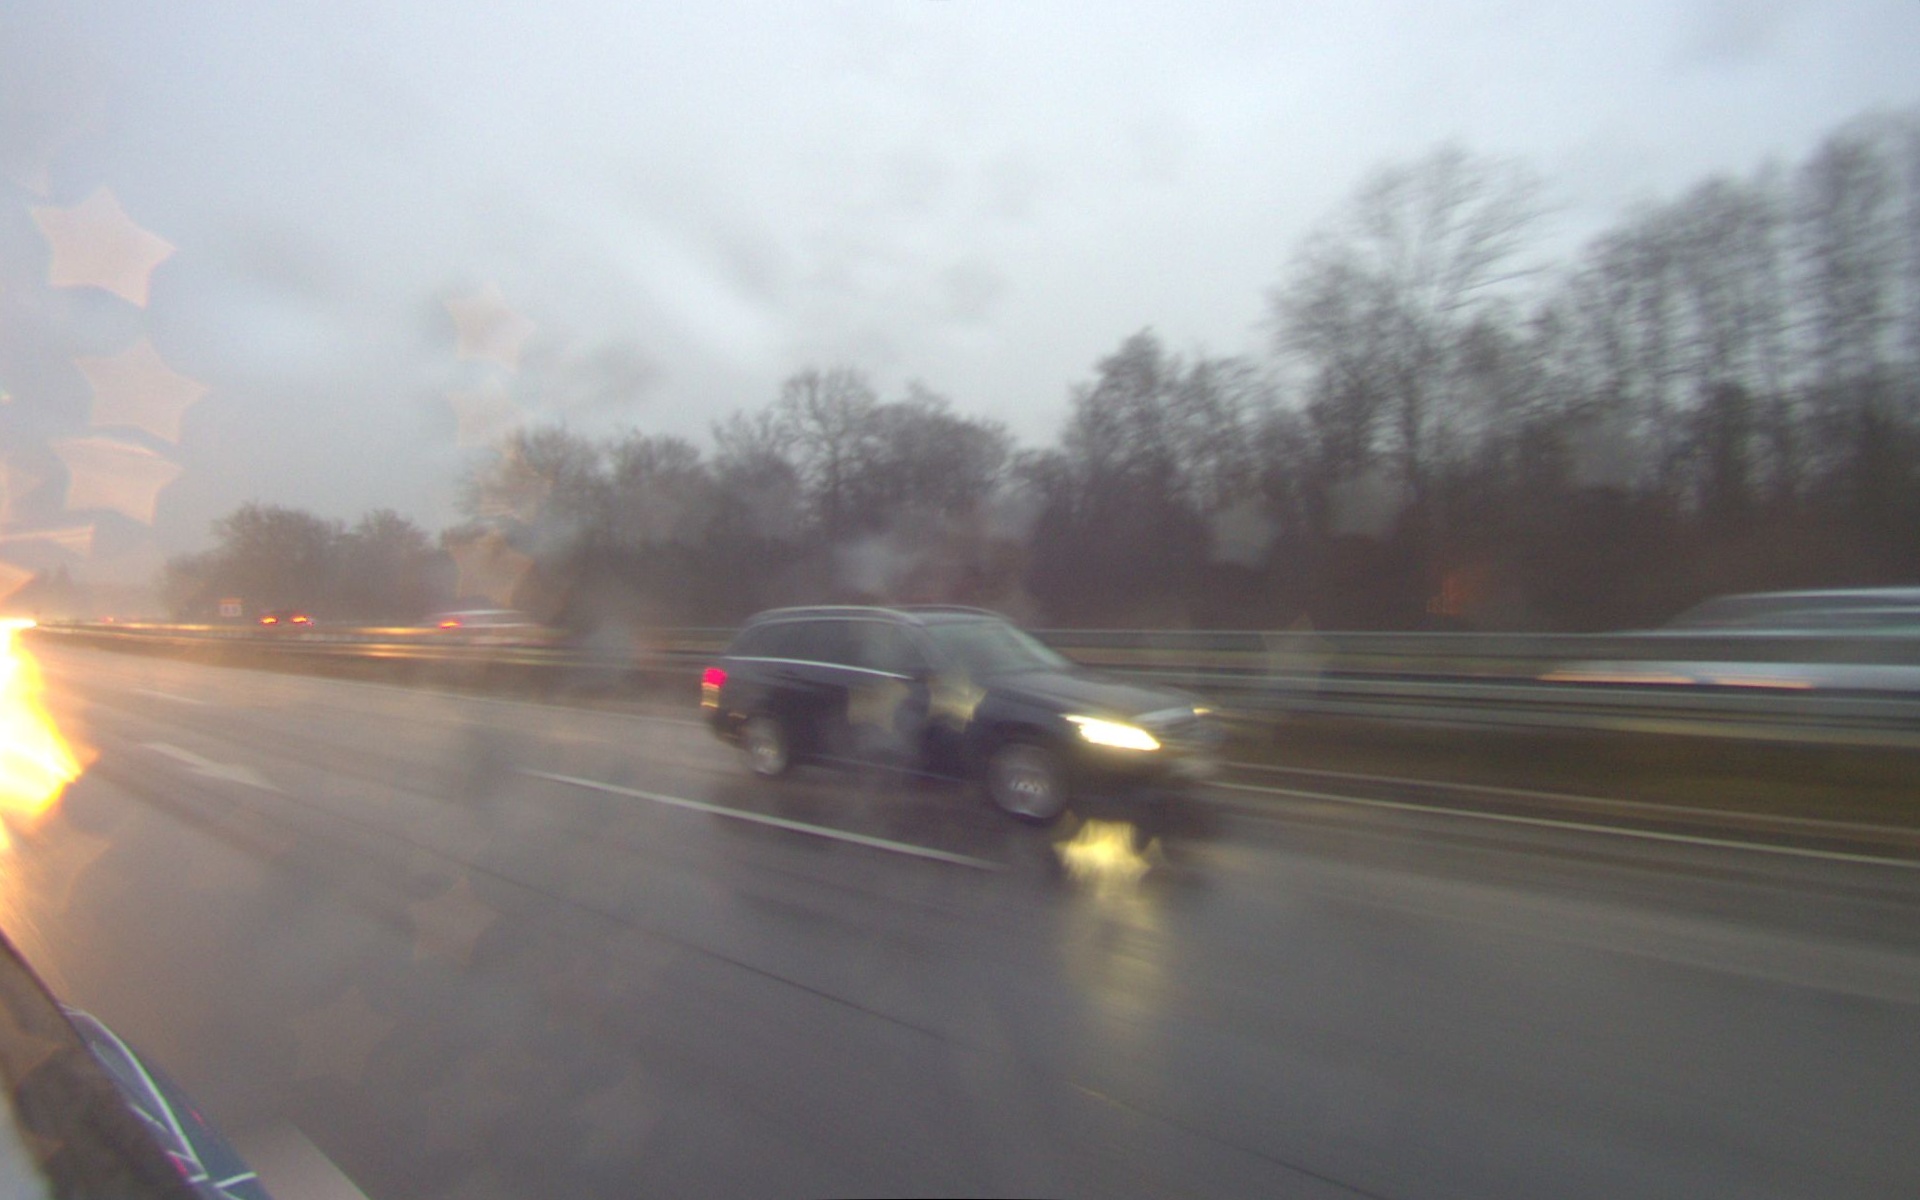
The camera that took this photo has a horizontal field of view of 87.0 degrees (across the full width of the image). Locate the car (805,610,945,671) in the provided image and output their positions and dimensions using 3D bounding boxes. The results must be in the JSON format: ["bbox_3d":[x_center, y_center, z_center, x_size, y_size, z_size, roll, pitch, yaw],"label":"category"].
[{"bbox_3d":[-2.550,1.121,29.700,4.203,1.647,1.665,0,-1,42],"label":"car"}]

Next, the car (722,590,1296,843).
[{"bbox_3d":[0.173,0.751,8.056,4.410,1.479,1.779,-2,-2,41],"label":"car"}]

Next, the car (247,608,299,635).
[{"bbox_3d":[-40.048,1.231,58.942,3.841,1.386,1.558,1,2,41],"label":"car"}]

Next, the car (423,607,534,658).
[{"bbox_3d":[-15.119,0.981,31.695,3.841,1.386,1.760,1,2,41],"label":"car"}]

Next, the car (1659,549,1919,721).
[{"bbox_3d":[11.532,0.382,12.989,3.999,2.028,1.972,1,2,42],"label":"car"}]

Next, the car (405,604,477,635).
[{"bbox_3d":[-26.315,0.953,51.247,4.781,1.386,1.558,1,2,41],"label":"car"}]
